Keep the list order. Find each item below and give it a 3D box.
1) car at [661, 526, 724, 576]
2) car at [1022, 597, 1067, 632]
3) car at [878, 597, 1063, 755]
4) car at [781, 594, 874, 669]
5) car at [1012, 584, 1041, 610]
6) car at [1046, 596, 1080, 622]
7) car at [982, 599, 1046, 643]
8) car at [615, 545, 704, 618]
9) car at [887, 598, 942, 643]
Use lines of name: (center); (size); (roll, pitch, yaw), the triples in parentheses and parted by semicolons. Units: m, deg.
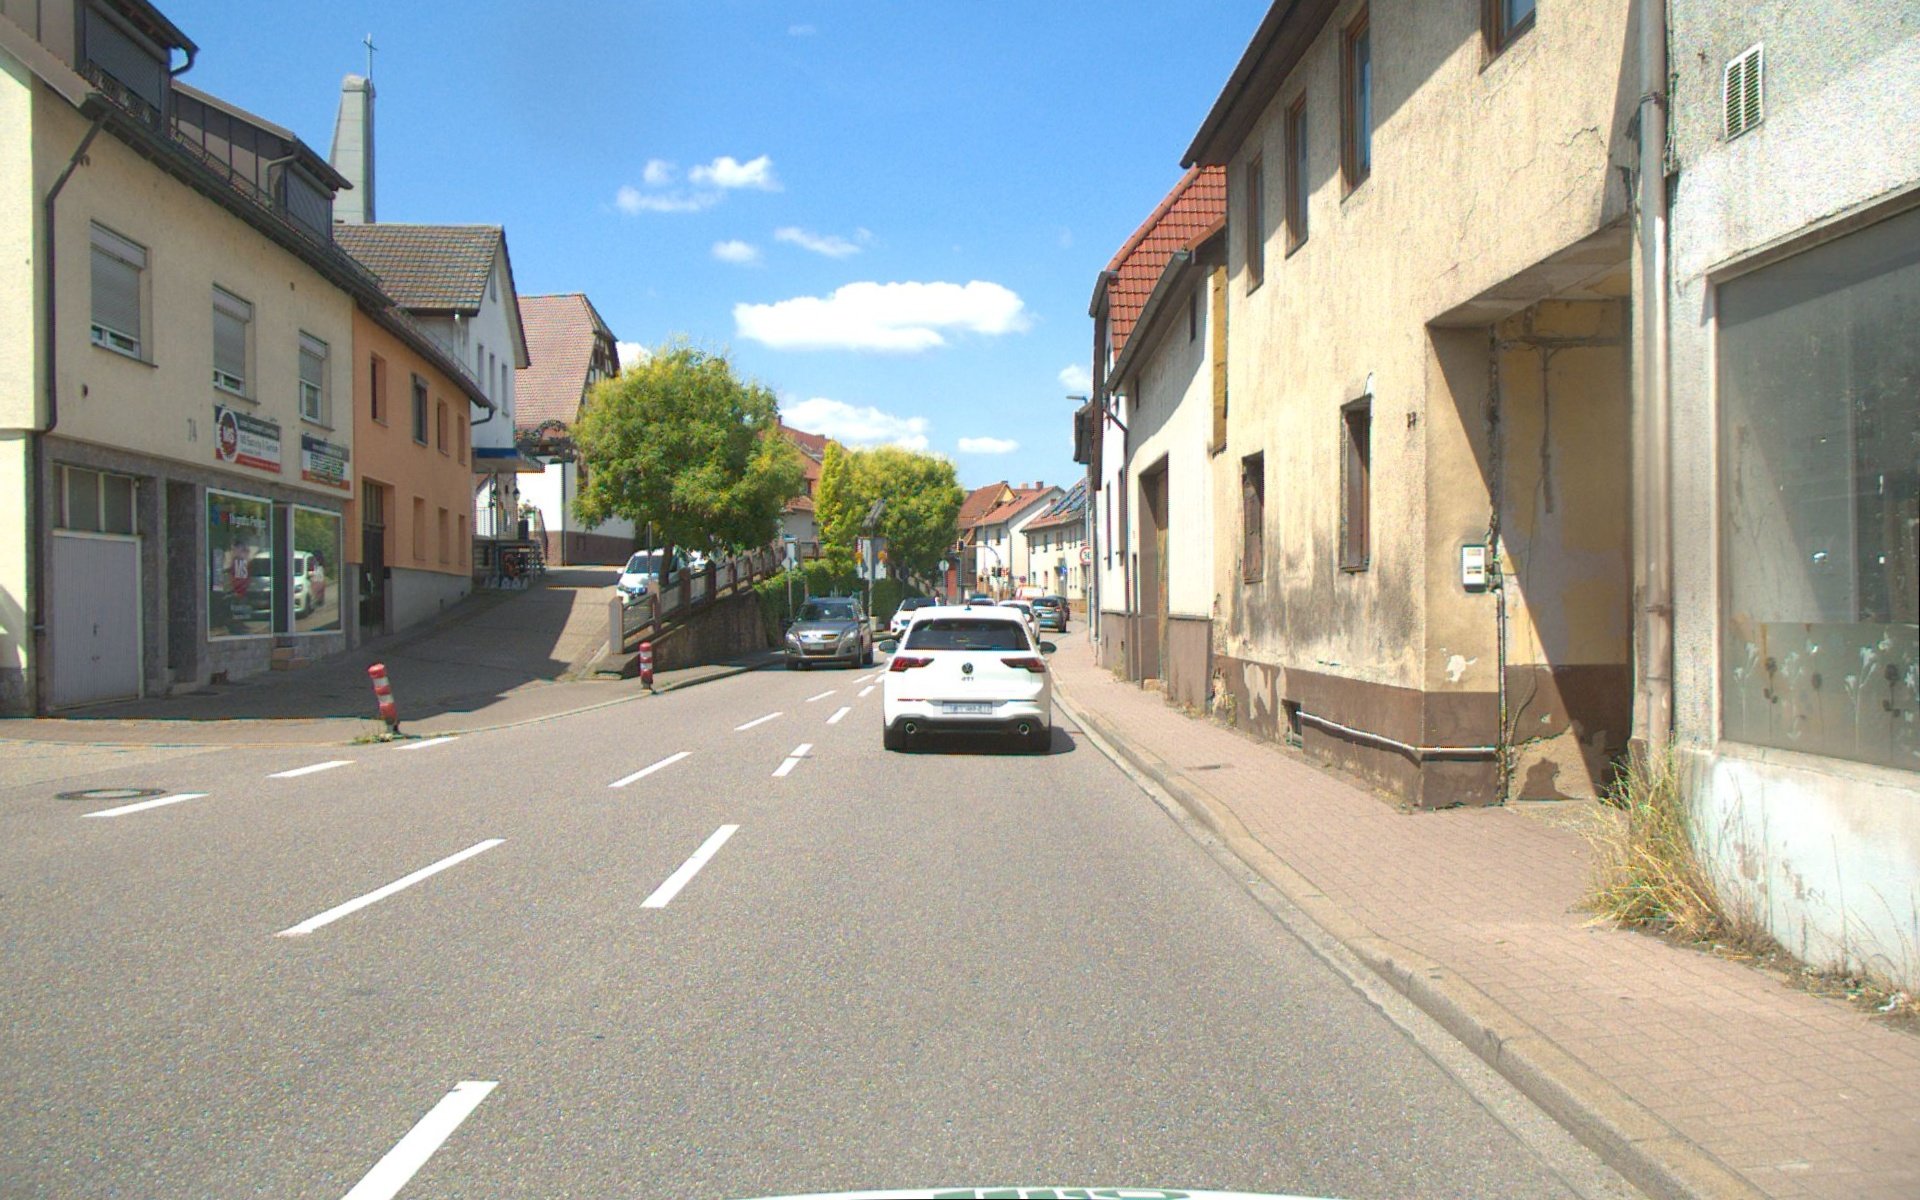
car: (-8.921, -1.662, 55.415); (1.544, 1.385, 3.858); (0, 6, -1)
car: (3.925, 0.676, 77.207); (1.740, 1.565, 3.999); (0, 0, -2)
car: (0.139, 0.741, 18.069); (1.770, 1.493, 4.000); (1, 0, 1)
car: (-3.110, 0.700, 39.498); (1.721, 1.664, 4.050); (-1, 0, 2)
car: (4.718, -0.209, 117.590); (1.740, 1.796, 3.998); (0, 0, -3)
car: (6.335, 0.525, 102.014); (1.739, 1.565, 3.999); (0, 0, -1)
car: (1.972, 0.740, 58.953); (1.769, 1.493, 4.003); (1, 0, 9)
car: (-7.884, -0.525, 43.690); (1.659, 1.569, 3.858); (0, 6, -1)
car: (-1.696, 0.760, 62.923); (1.804, 1.608, 4.447); (-1, 0, 2)
